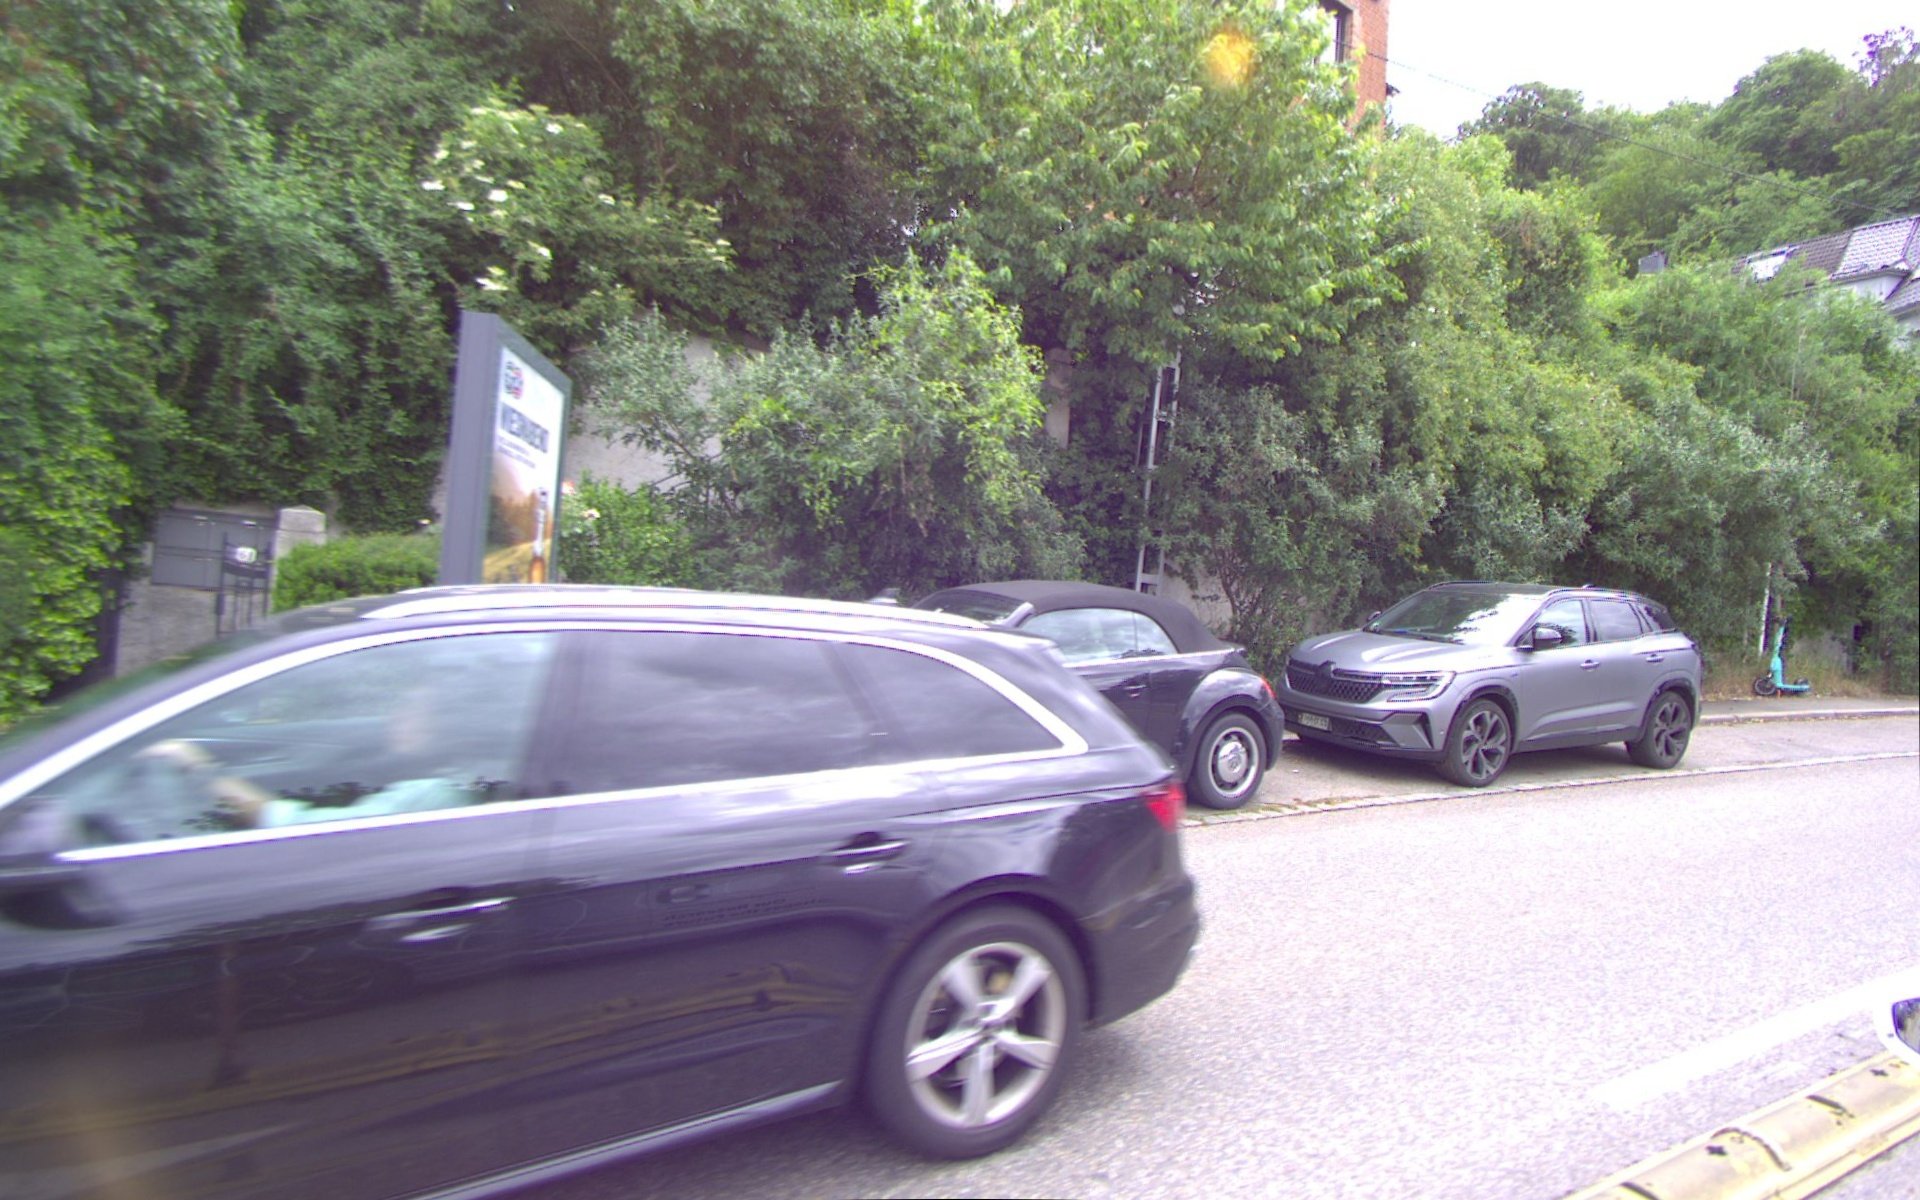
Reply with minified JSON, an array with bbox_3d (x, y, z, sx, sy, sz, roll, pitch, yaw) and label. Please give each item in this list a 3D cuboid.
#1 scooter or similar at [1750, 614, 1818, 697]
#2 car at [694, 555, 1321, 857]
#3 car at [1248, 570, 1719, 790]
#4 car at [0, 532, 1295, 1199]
[{"bbox_3d":[12.793,0.853,15.586,1.032,1.229,0.348,1,3,-26],"label":"scooter or similar"},{"bbox_3d":[0.385,0.559,6.924,3.953,1.530,1.785,1,2,-30],"label":"car"},{"bbox_3d":[4.857,0.635,9.257,4.132,1.627,1.680,2,2,-26],"label":"car"},{"bbox_3d":[-1.309,0.628,2.746,4.311,1.466,1.787,2,0,-30],"label":"car"}]
